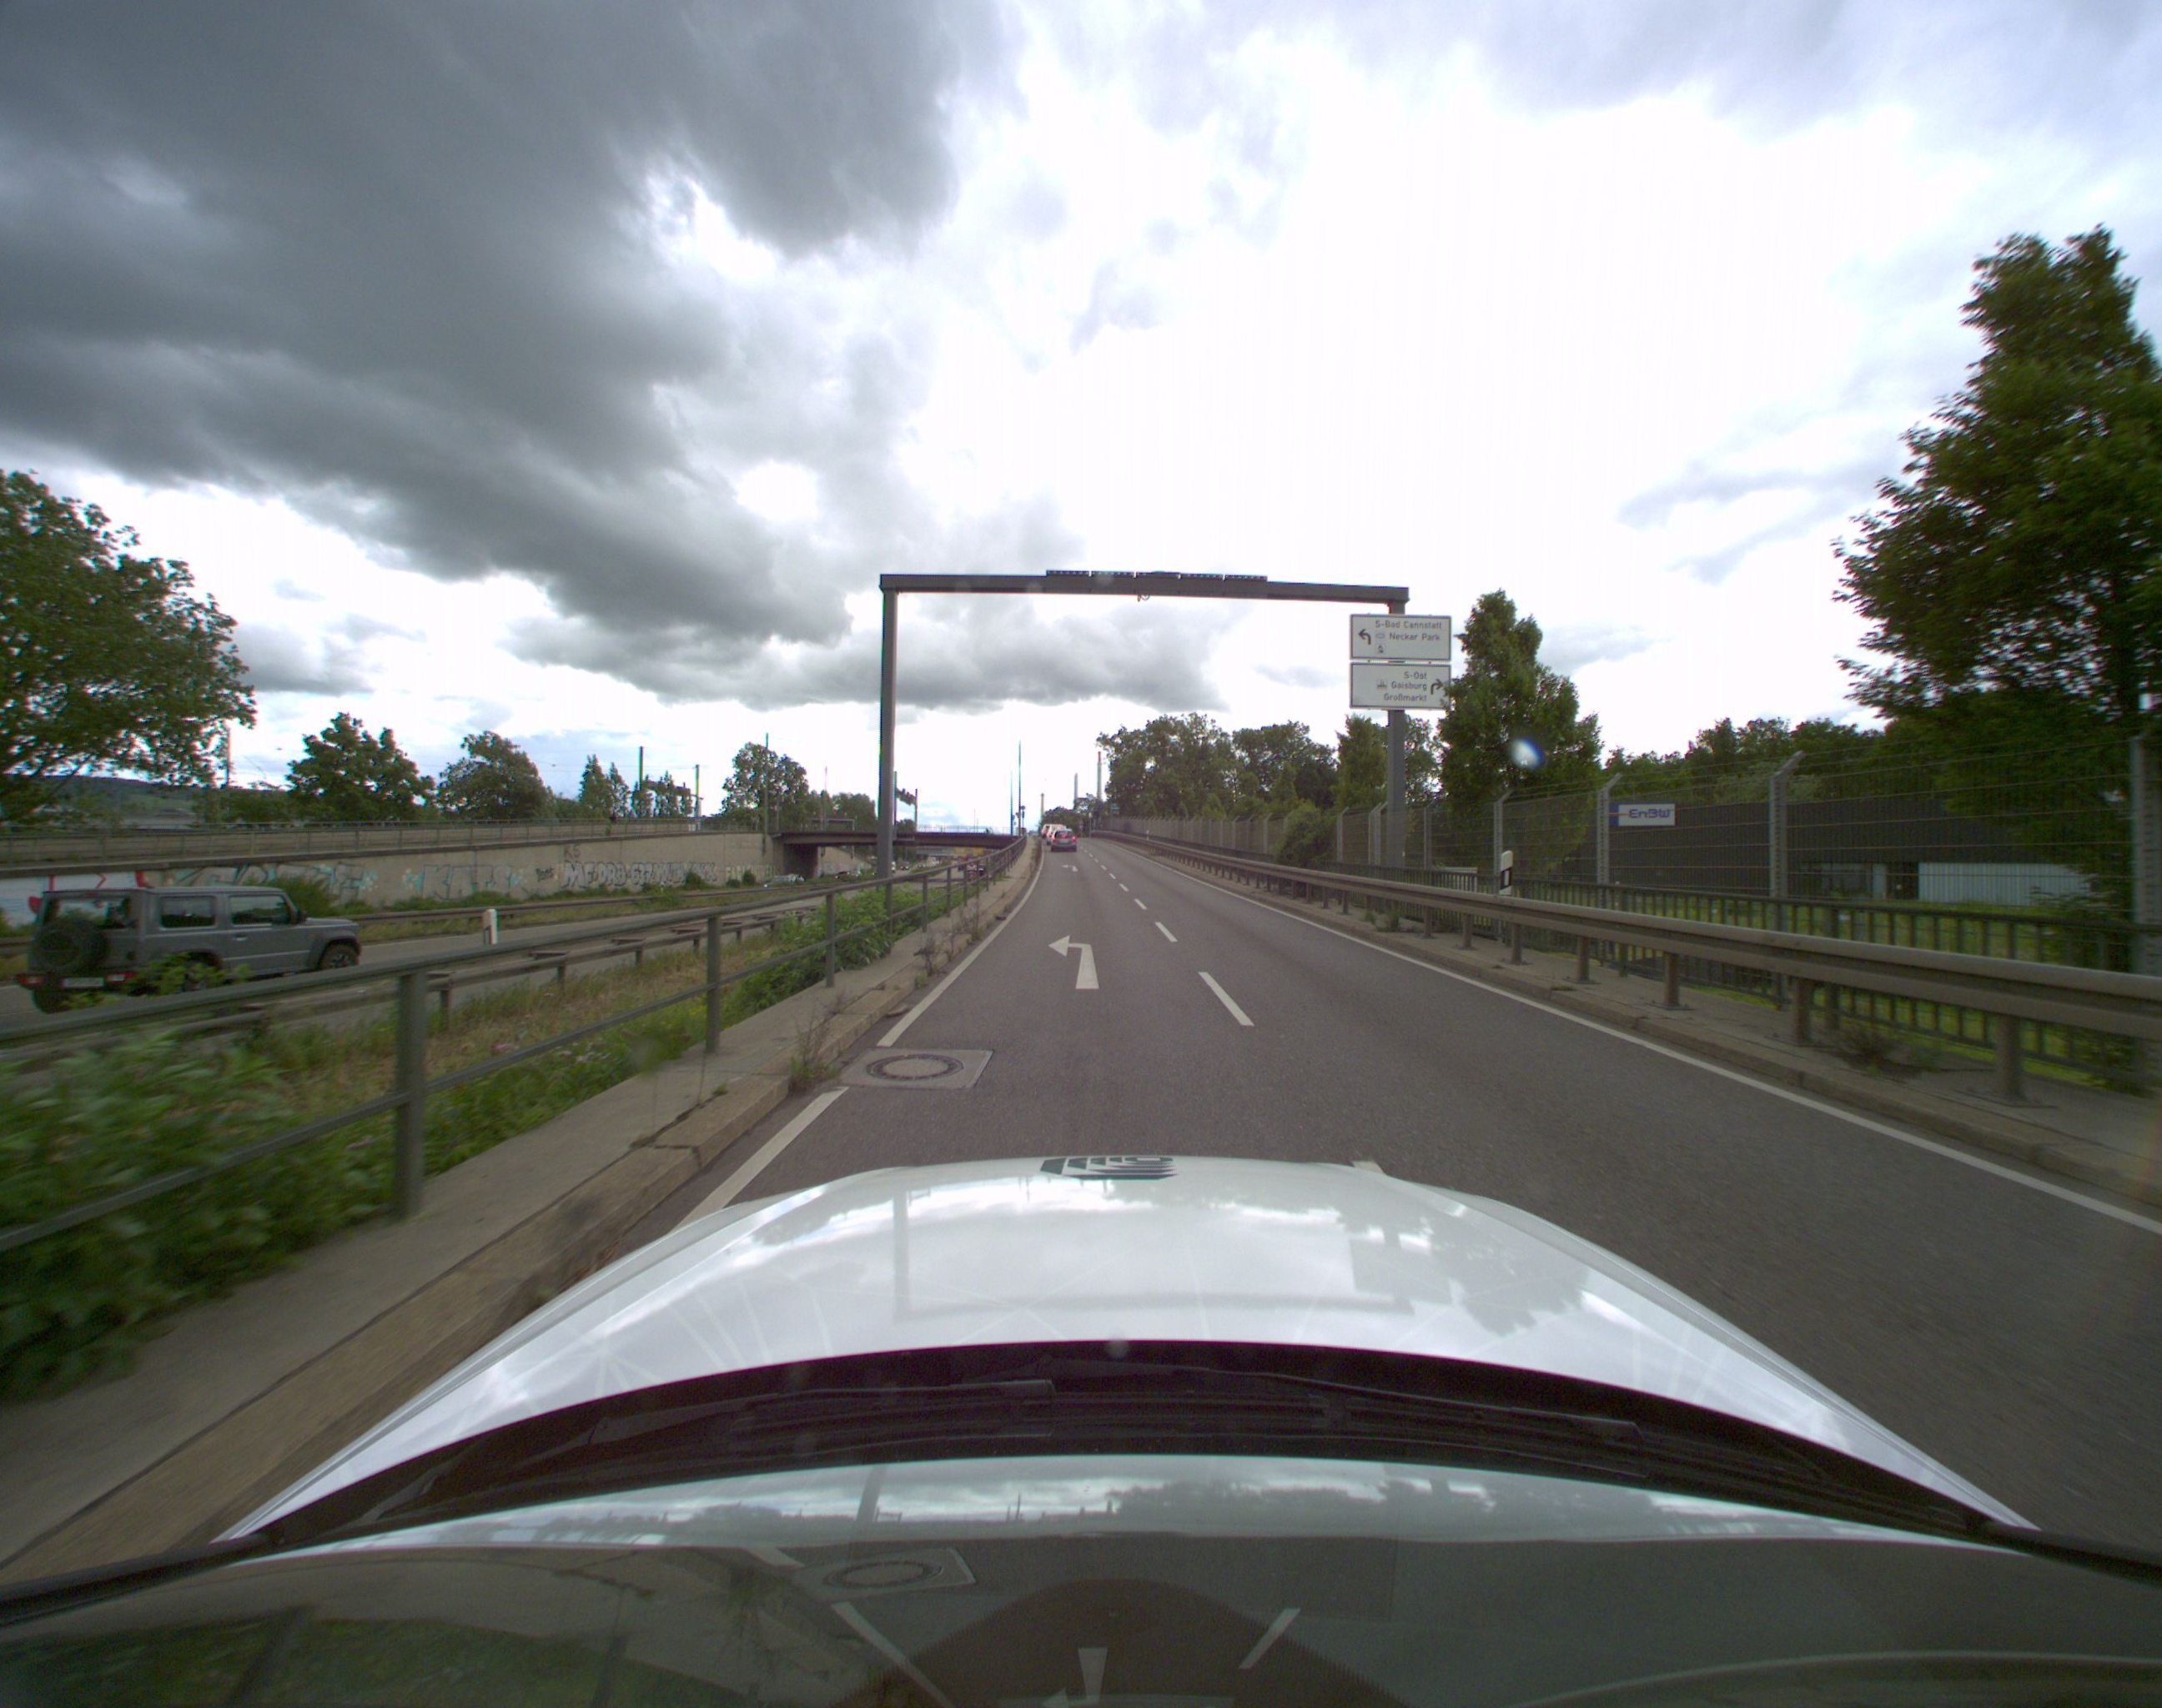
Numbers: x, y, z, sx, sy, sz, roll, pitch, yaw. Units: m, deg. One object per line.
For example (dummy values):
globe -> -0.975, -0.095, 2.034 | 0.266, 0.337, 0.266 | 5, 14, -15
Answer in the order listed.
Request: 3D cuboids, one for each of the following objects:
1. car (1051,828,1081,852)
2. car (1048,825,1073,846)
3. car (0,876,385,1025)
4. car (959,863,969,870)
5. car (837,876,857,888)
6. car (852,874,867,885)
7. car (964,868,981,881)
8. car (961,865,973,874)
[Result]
car -> -1.031, -0.959, 57.335 | 1.742, 1.580, 4.089 | 1, 0, 4
car -> -1.764, -1.594, 68.665 | 1.989, 1.602, 3.997 | -1, 3, -3
car -> -12.796, 1.242, 12.035 | 1.676, 1.736, 3.995 | -1, -1, -2
car -> -29.644, 3.099, 206.127 | 1.987, 1.684, 4.000 | 1, 0, 0
car -> -33.819, 4.026, 117.765 | 1.991, 1.720, 4.692 | -1, -2, -6
car -> -36.195, 4.188, 133.169 | 1.995, 1.692, 4.683 | -1, -1, -13
car -> -13.454, 2.508, 100.846 | 1.991, 1.420, 3.991 | 1, 0, -6
car -> -25.031, 3.427, 179.462 | 1.987, 1.684, 4.000 | 1, 0, 0
